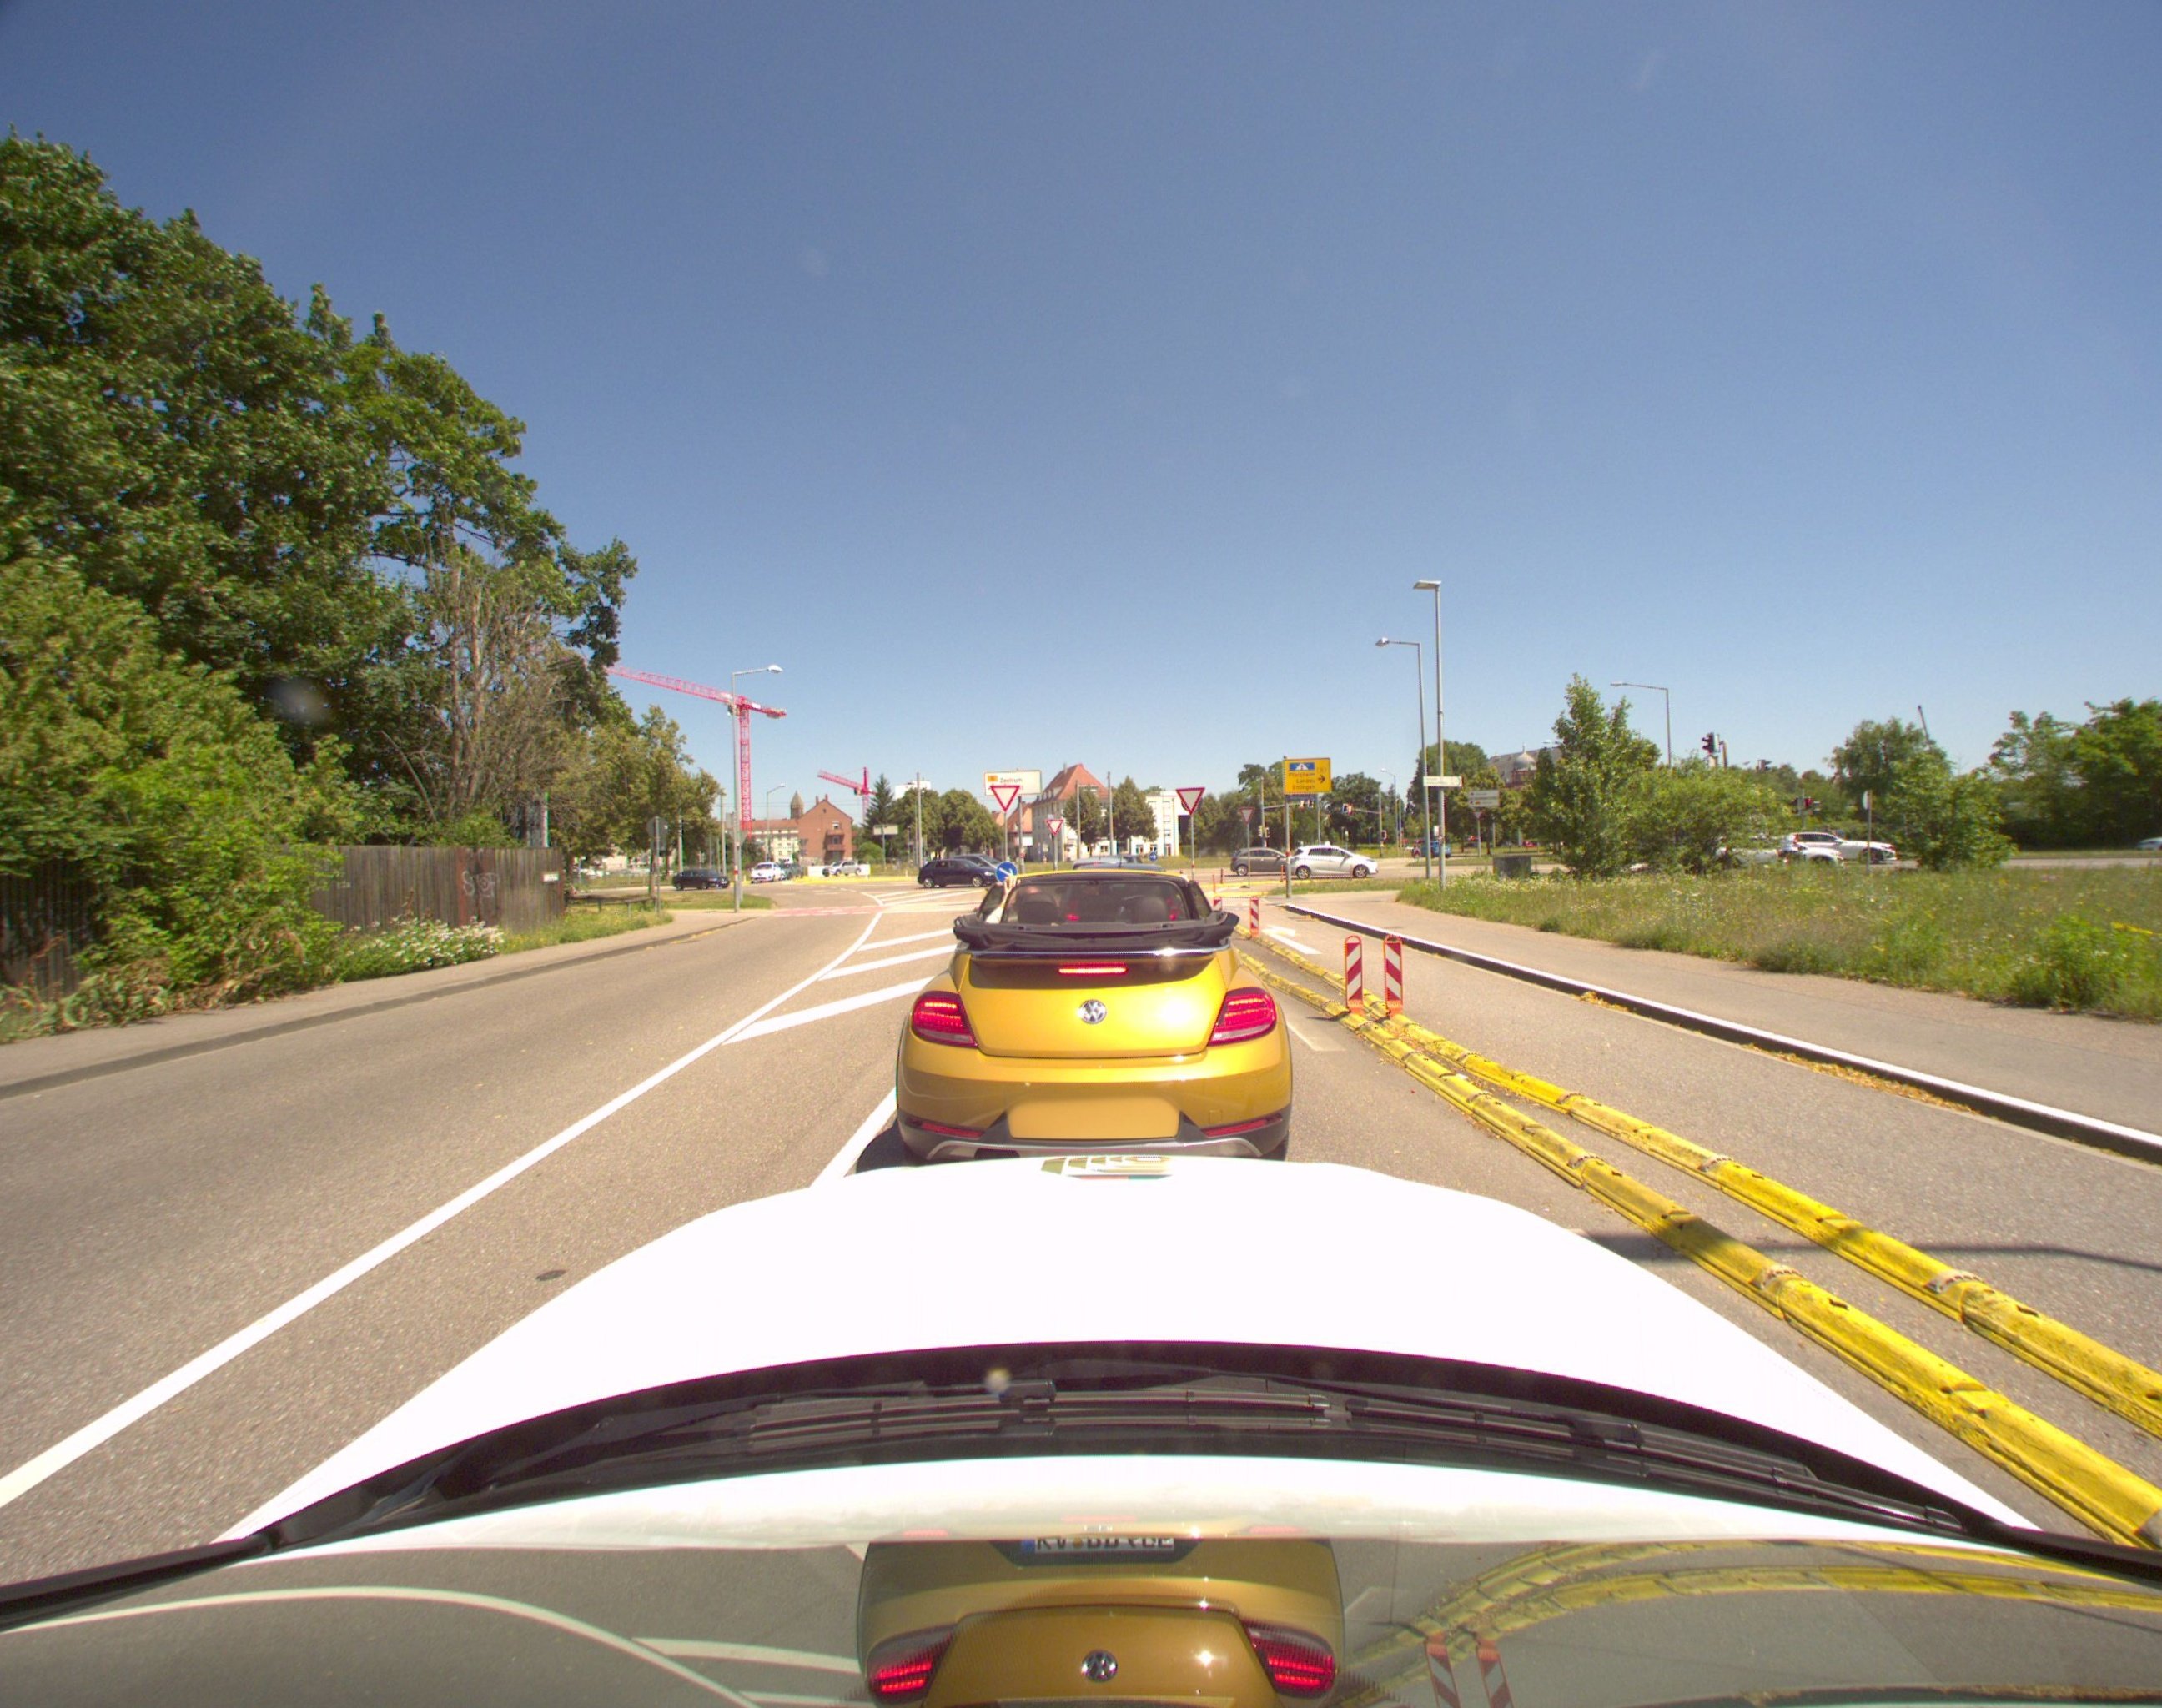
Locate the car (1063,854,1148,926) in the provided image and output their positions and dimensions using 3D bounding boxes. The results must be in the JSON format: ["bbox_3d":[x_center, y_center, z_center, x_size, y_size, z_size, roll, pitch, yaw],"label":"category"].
[{"bbox_3d":[0.578,0.752,18.794,1.730,1.442,4.002,-1,0,2],"label":"car"}]

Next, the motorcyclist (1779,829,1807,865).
[{"bbox_3d":[25.823,-0.246,29.535,0.616,1.289,0.576,-1,-1,-27],"label":"motorcyclist"}]

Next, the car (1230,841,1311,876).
[{"bbox_3d":[9.949,0.241,42.796,3.960,1.496,1.653,-5,-1,12],"label":"car"}]

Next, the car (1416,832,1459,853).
[{"bbox_3d":[32.443,-0.993,74.243,1.990,1.838,3.994,-1,0,-4],"label":"car"}]

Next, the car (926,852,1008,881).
[{"bbox_3d":[-6.159,0.662,44.159,3.954,1.496,1.809,-1,0,19],"label":"car"}]

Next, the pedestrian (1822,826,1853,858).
[{"bbox_3d":[37.736,-0.600,40.631,0.789,1.563,0.823,-1,0,3],"label":"pedestrian"}]

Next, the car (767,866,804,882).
[{"bbox_3d":[-25.165,1.685,69.444,1.700,1.236,3.788,-1,0,2],"label":"car"}]

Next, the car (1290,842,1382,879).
[{"bbox_3d":[11.897,0.315,38.230,3.973,1.620,1.686,-1,0,11],"label":"car"}]

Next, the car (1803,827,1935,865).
[{"bbox_3d":[35.012,-0.322,36.349,3.948,1.585,1.851,-1,0,34],"label":"car"}]

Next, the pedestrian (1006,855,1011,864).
[{"bbox_3d":[-10.278,0.772,115.783,0.677,1.230,0.496,-1,-1,-17],"label":"pedestrian"}]

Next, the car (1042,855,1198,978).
[{"bbox_3d":[0.535,0.761,11.777,1.841,1.442,4.002,-1,0,2],"label":"car"}]

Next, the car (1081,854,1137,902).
[{"bbox_3d":[0.938,0.760,27.594,1.730,1.477,4.002,-1,0,2],"label":"car"}]

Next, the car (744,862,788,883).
[{"bbox_3d":[-24.613,1.419,63.840,1.749,1.549,4.002,-1,0,2],"label":"car"}]

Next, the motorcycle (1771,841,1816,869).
[{"bbox_3d":[25.803,0.042,29.489,1.712,0.970,0.625,-1,0,-28],"label":"motorcycle"}]

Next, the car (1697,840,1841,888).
[{"bbox_3d":[27.688,0.401,32.989,4.208,1.816,2.013,-1,0,33],"label":"car"}]

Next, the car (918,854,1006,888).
[{"bbox_3d":[-5.944,0.870,40.902,3.969,1.620,1.744,-1,0,15],"label":"car"}]

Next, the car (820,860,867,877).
[{"bbox_3d":[-22.982,1.377,78.884,1.690,1.500,4.247,-1,0,34],"label":"car"}]

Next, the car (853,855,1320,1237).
[{"bbox_3d":[0.072,0.734,4.982,1.746,1.422,3.779,-1,0,2],"label":"car"}]

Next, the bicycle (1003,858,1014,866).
[{"bbox_3d":[-10.336,1.088,115.761,1.469,1.071,0.496,-1,0,-17],"label":"bicycle"}]

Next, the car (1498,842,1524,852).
[{"bbox_3d":[79.463,-1.331,150.509,3.993,1.714,1.990,-1,0,-15],"label":"car"}]

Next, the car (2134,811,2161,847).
[{"bbox_3d":[53.635,-1.228,38.808,3.950,1.728,1.748,-1,0,44],"label":"car"}]

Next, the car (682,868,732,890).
[{"bbox_3d":[-26.079,1.737,56.691,1.833,1.447,4.478,-1,0,-43],"label":"car"}]

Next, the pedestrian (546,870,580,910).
[{"bbox_3d":[-20.873,1.438,32.811,0.866,1.563,0.815,-1,-1,24],"label":"pedestrian"}]
